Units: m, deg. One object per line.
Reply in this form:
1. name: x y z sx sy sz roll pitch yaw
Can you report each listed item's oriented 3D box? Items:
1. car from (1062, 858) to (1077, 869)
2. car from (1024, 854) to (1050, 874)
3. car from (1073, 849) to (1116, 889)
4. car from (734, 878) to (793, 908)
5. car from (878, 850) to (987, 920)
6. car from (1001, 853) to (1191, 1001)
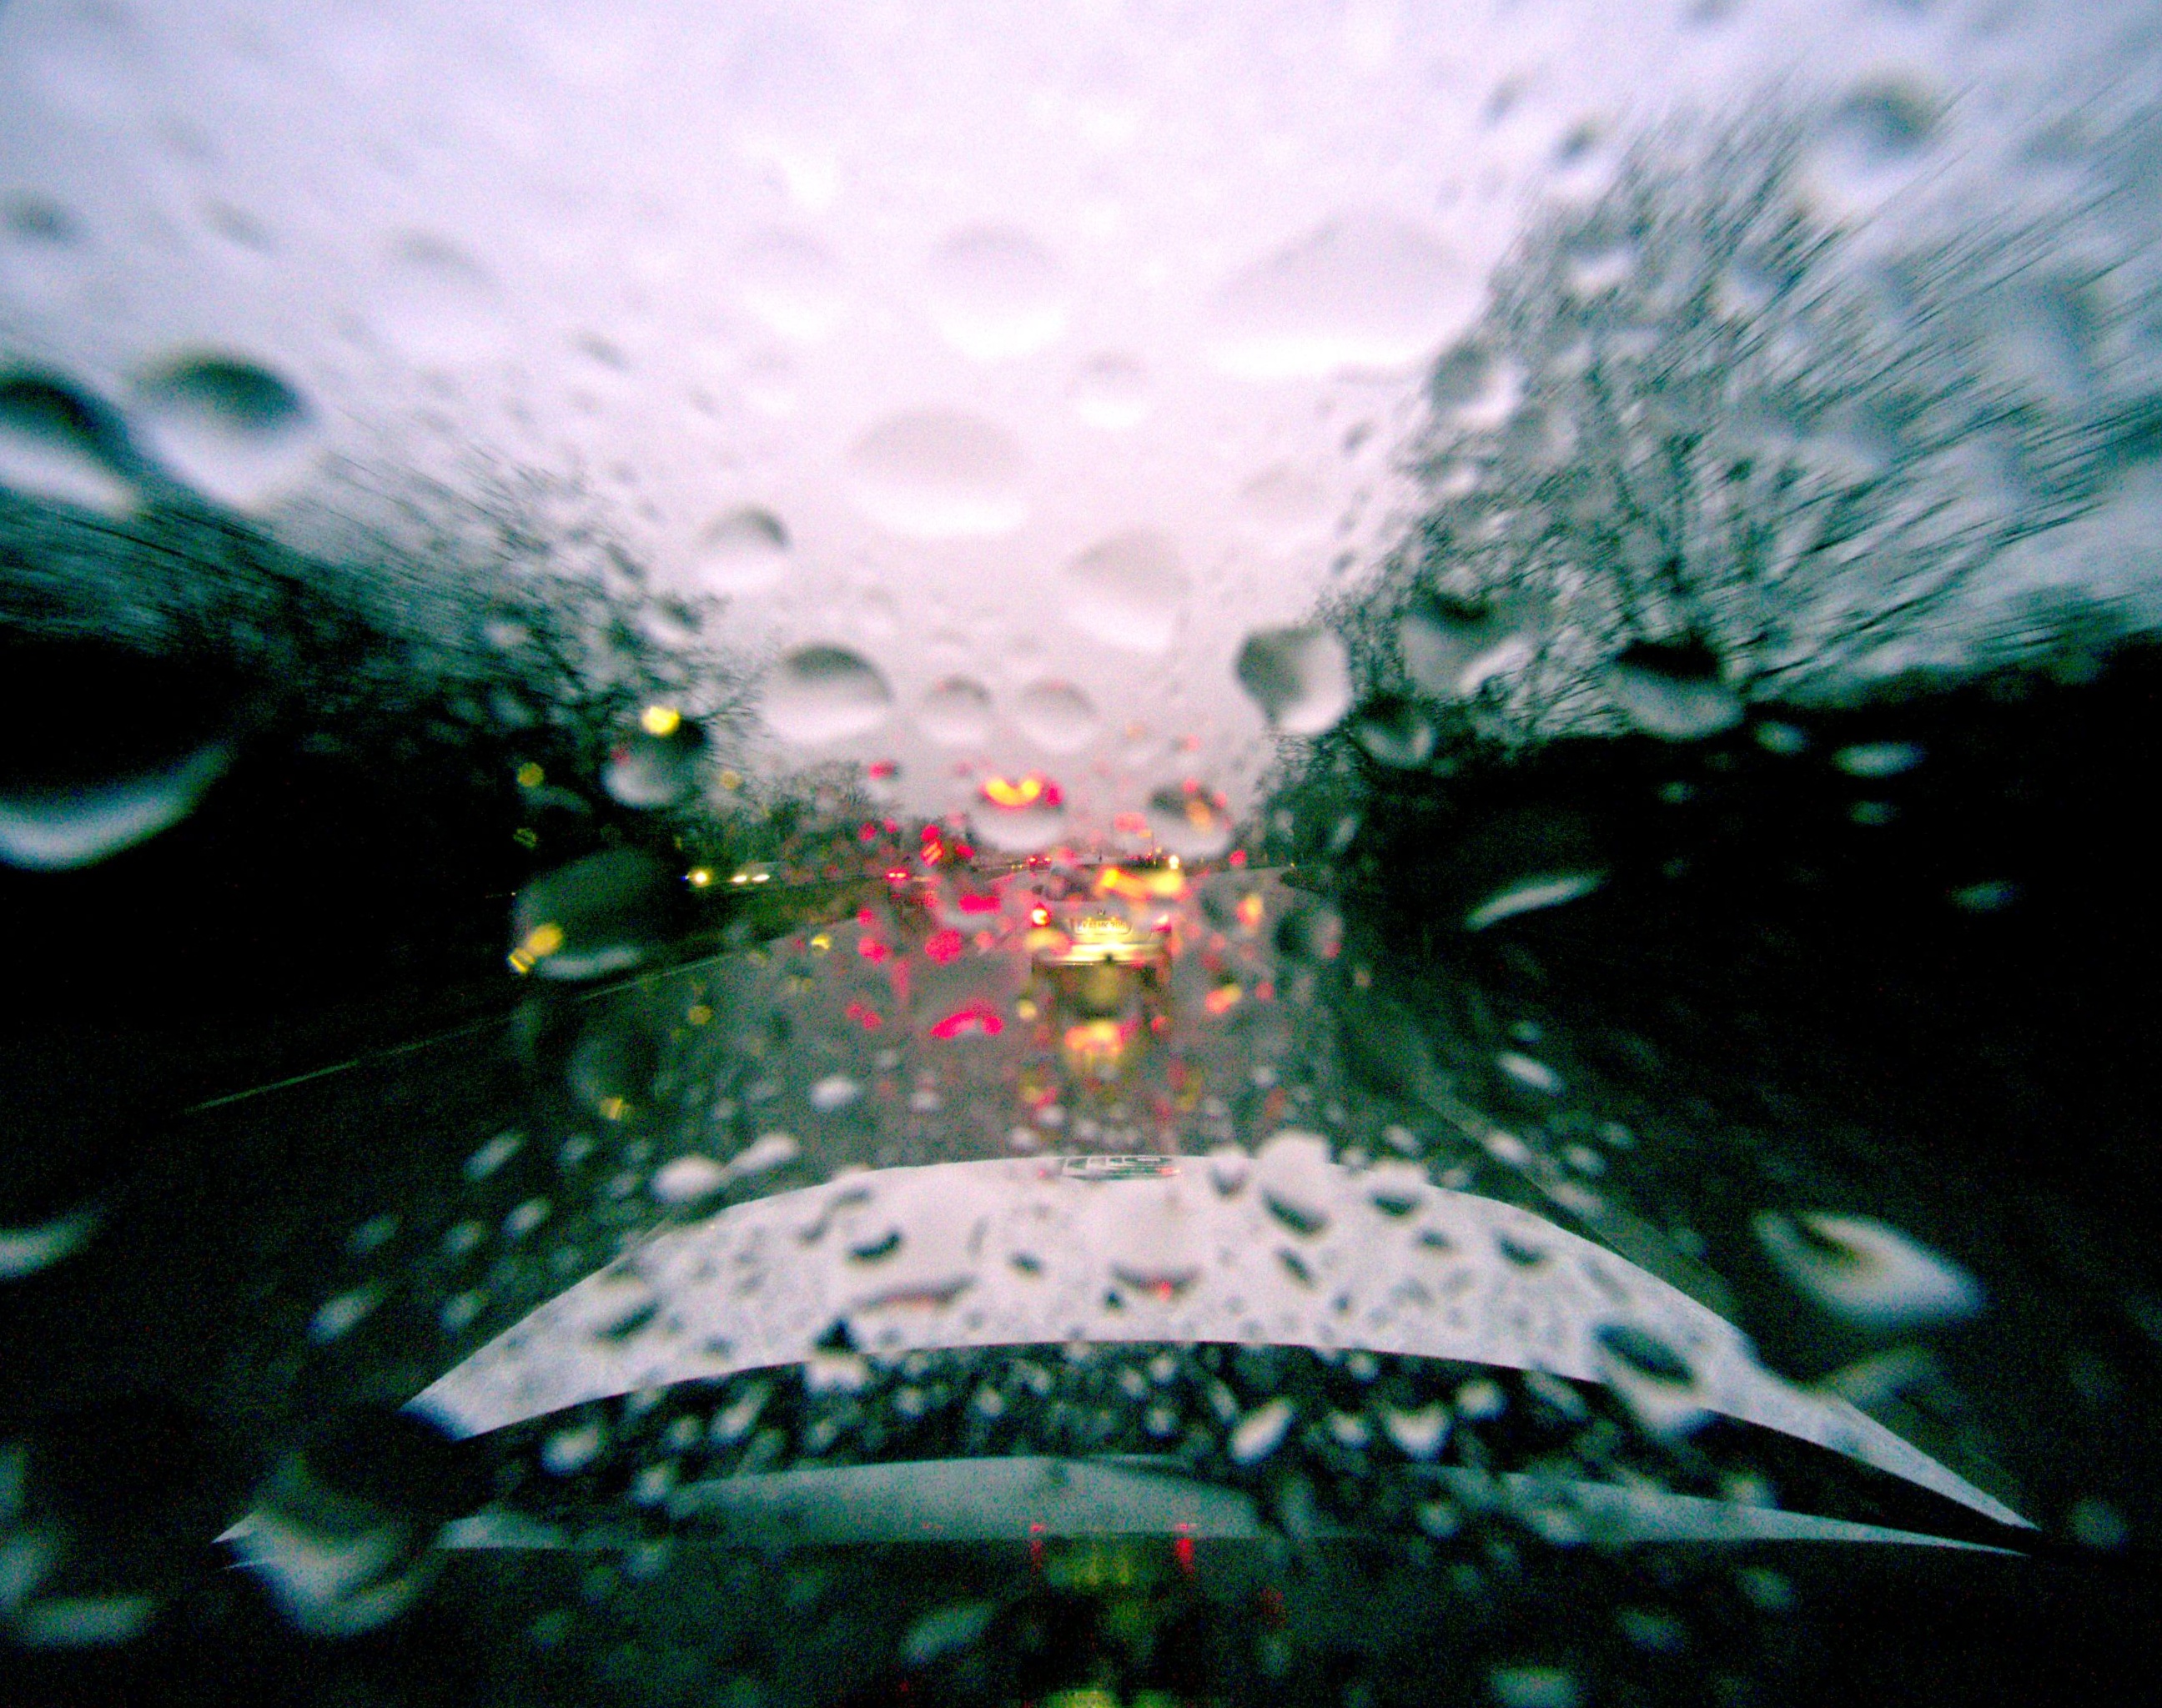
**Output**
1. car: -1.607 1.329 115.791 1.782 1.483 4.002 -3 0 2
2. car: -3.765 0.837 69.918 1.782 1.545 4.003 -3 0 2
3. car: 0.656 0.670 39.829 1.891 1.767 4.309 -3 0 1
4. car: -19.761 2.400 50.880 1.642 1.565 4.600 -3 -1 3
5. car: -3.793 0.740 21.540 1.986 1.601 4.309 -1 0 1
6. car: 0.260 0.810 10.900 1.985 1.500 4.140 -3 -1 3
